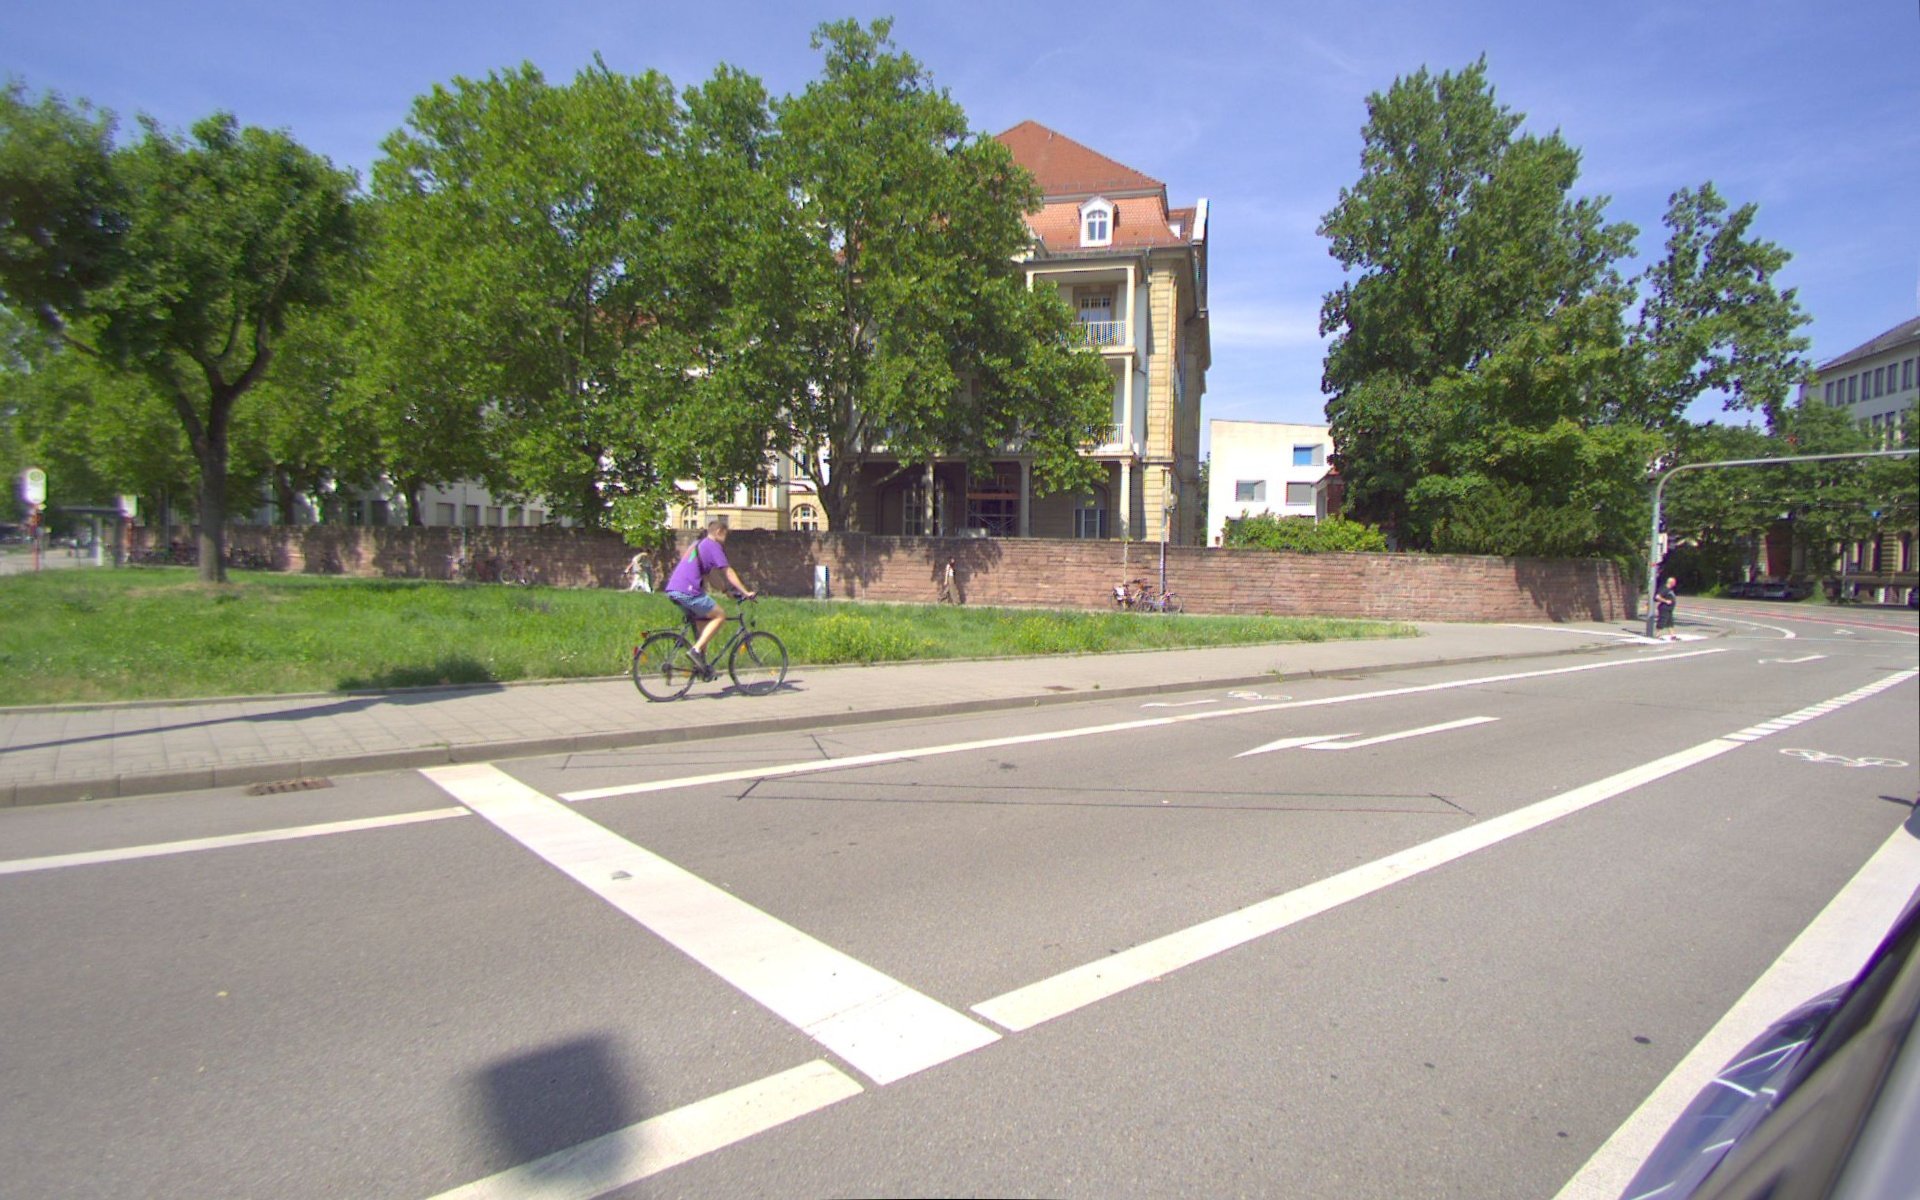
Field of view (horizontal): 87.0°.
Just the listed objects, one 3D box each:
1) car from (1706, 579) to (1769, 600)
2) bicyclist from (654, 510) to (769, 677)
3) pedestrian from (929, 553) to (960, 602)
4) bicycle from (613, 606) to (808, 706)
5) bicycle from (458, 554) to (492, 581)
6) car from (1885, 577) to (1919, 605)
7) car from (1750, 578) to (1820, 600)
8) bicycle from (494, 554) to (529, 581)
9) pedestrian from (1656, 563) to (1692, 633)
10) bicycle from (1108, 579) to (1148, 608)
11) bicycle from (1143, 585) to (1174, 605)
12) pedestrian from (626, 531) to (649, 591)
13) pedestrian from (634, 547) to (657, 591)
[{"bbox_3d":[69.208,-0.952,90.125,3.943,1.682,1.992,0,3,16],"label":"car"},{"bbox_3d":[-2.599,-0.084,10.622,1.067,1.657,0.487,-1,3,-44],"label":"bicyclist"},{"bbox_3d":[-0.513,-0.745,33.375,0.900,1.567,0.501,2,2,13],"label":"pedestrian"},{"bbox_3d":[-2.589,0.544,10.641,1.900,0.898,0.684,-1,3,-43],"label":"bicycle"},{"bbox_3d":[-19.904,-1.326,41.527,1.432,1.046,0.444,3,2,24],"label":"bicycle"},{"bbox_3d":[62.362,-0.571,64.884,3.942,1.682,1.992,0,3,15],"label":"car"},{"bbox_3d":[67.854,-0.904,83.261,3.941,1.682,1.993,0,3,14],"label":"car"},{"bbox_3d":[-18.018,-1.315,40.675,1.432,1.046,0.444,3,2,24],"label":"bicycle"},{"bbox_3d":[21.240,-0.064,30.122,0.790,2.038,0.608,2,2,35],"label":"pedestrian"},{"bbox_3d":[5.403,-0.201,32.555,1.202,0.894,0.395,1,2,-21],"label":"bicycle"},{"bbox_3d":[6.405,-0.166,32.691,0.929,0.609,0.275,1,2,-2],"label":"bicycle"},{"bbox_3d":[-11.286,-1.366,35.402,0.586,2.038,0.522,1,2,9],"label":"pedestrian"},{"bbox_3d":[-11.515,-1.138,37.103,0.700,1.597,0.516,3,3,41],"label":"pedestrian"}]
